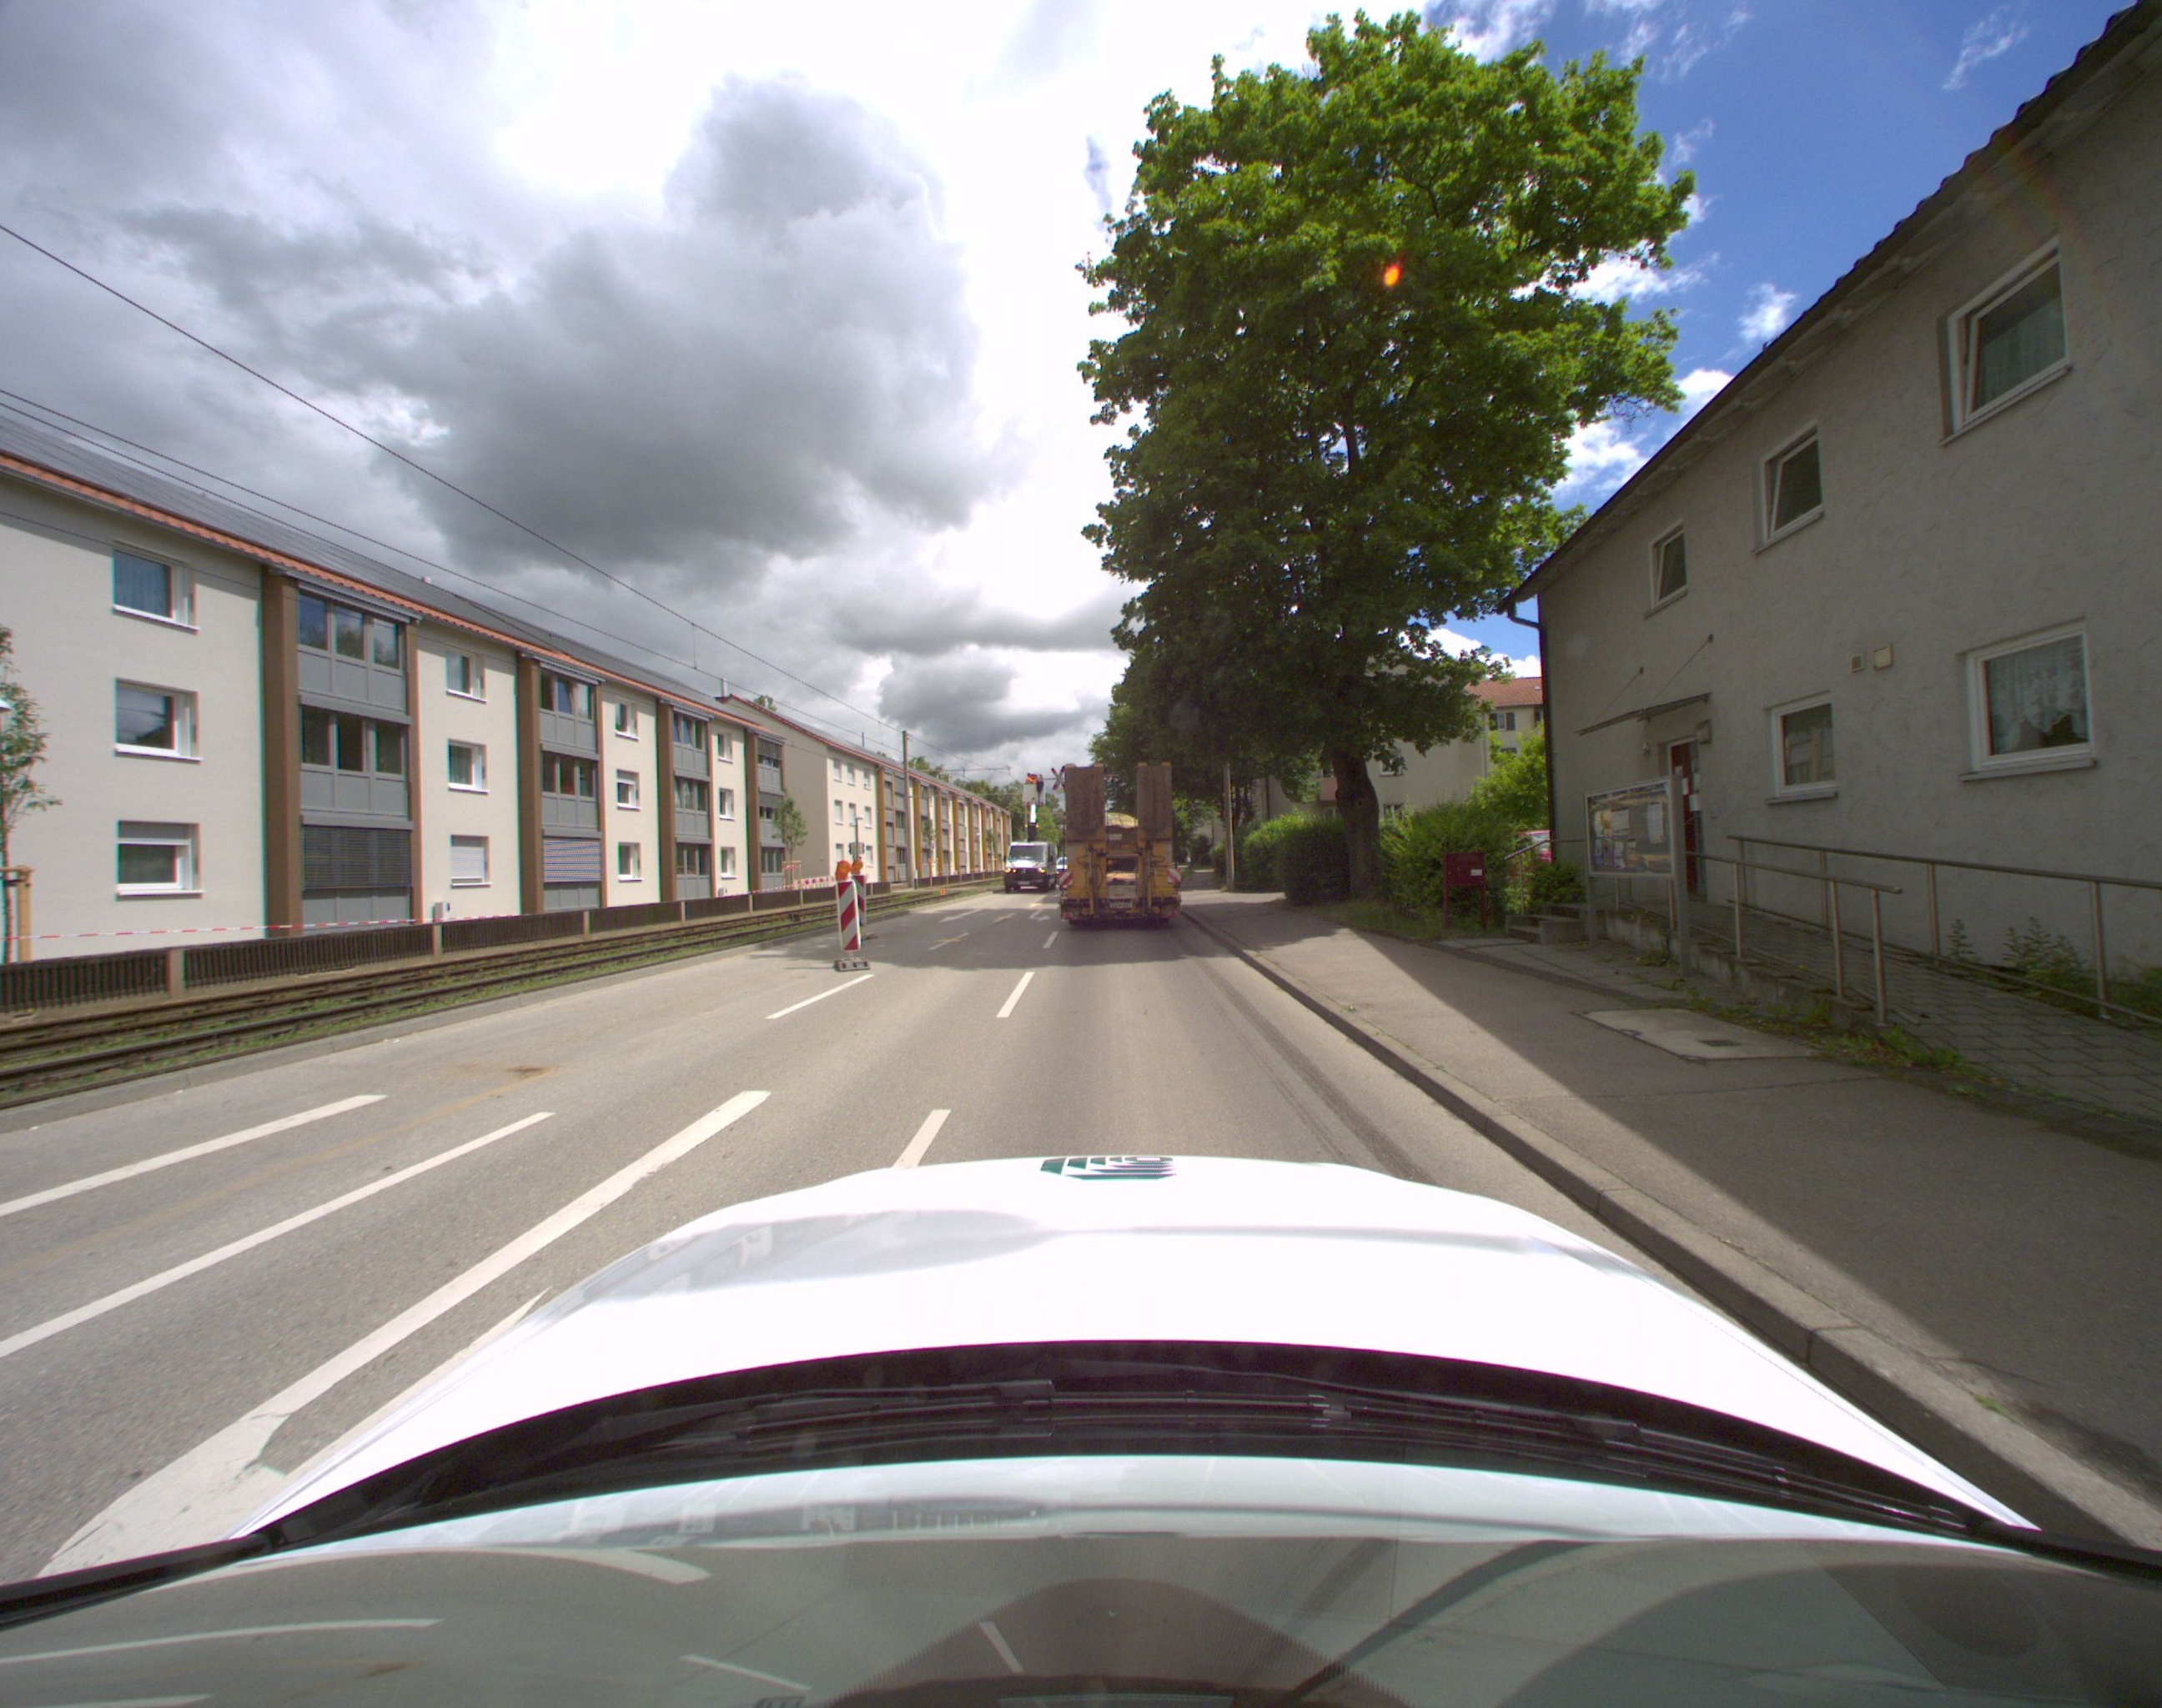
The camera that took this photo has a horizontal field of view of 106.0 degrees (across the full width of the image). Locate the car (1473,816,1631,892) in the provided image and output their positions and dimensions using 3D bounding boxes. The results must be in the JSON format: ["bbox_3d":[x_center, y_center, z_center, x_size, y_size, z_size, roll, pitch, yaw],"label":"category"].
[{"bbox_3d":[11.329,0.026,19.931,1.803,1.583,4.006,-3,-1,6],"label":"car"}]

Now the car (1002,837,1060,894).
[{"bbox_3d":[-2.256,0.524,38.642,1.985,2.430,6.327,-1,0,3],"label":"car"}]

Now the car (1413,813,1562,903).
[{"bbox_3d":[8.731,0.102,17.877,1.800,1.649,4.012,-3,-1,10],"label":"car"}]

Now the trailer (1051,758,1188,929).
[{"bbox_3d":[1.062,-0.176,22.433,2.811,3.524,11.059,-1,0,3],"label":"trailer"}]

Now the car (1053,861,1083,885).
[{"bbox_3d":[-0.823,1.228,53.717,1.711,1.552,3.919,-1,-1,2],"label":"car"}]

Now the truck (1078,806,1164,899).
[{"bbox_3d":[1.579,-0.022,31.792,2.905,3.167,7.686,-1,0,3],"label":"truck"}]
